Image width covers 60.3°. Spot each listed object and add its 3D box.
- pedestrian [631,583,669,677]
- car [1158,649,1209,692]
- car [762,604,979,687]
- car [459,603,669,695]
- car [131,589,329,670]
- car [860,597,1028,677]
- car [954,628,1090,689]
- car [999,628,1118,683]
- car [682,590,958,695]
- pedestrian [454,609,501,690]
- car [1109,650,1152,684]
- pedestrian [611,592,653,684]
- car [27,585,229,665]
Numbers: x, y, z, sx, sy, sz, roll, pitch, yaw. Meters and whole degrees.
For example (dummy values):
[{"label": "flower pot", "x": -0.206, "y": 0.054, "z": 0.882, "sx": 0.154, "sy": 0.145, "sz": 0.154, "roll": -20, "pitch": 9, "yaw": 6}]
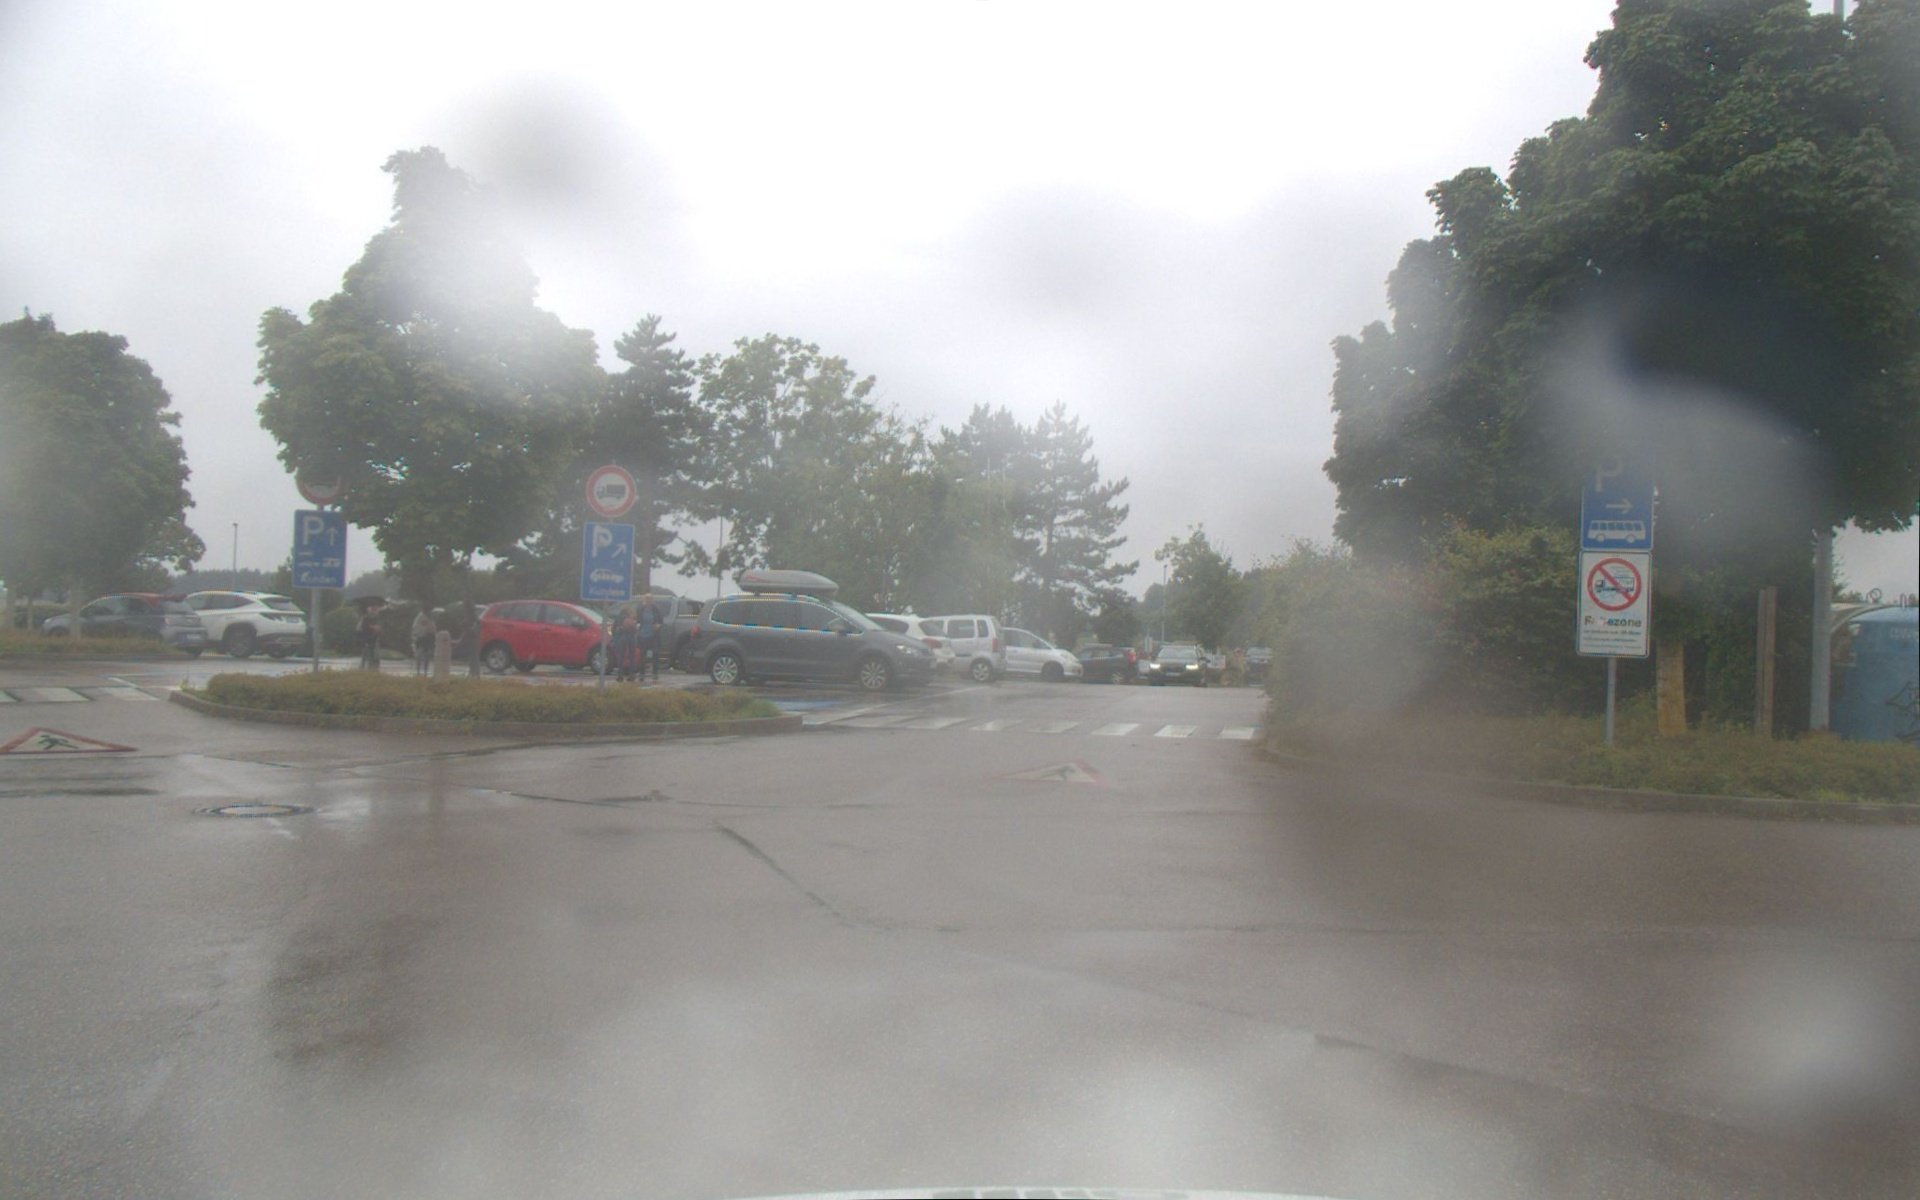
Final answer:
[{"label": "pedestrian", "x": -5.887, "y": 0.579, "z": 31.419, "sx": 0.599, "sy": 1.755, "sz": 0.681, "roll": 3, "pitch": -3, "yaw": -14}, {"label": "car", "x": 7.803, "y": 2.481, "z": 57.587, "sx": 1.610, "sy": 1.394, "sz": 4.002, "roll": 2, "pitch": -3, "yaw": 9}, {"label": "car", "x": -1.801, "y": 0.897, "z": 33.906, "sx": 4.095, "sy": 1.543, "sz": 1.745, "roll": 1, "pitch": 0, "yaw": 12}, {"label": "car", "x": -8.440, "y": 1.019, "z": 35.395, "sx": 3.924, "sy": 1.824, "sz": 1.852, "roll": 1, "pitch": 0, "yaw": 11}, {"label": "car", "x": -18.388, "y": 0.751, "z": 41.723, "sx": 4.261, "sy": 1.895, "sz": 1.721, "roll": 1, "pitch": -3, "yaw": 11}, {"label": "car", "x": -0.374, "y": 0.952, "z": 41.982, "sx": 3.924, "sy": 1.895, "sz": 1.852, "roll": 1, "pitch": -3, "yaw": 11}, {"label": "car", "x": 2.077, "y": 1.942, "z": 54.804, "sx": 4.261, "sy": 1.895, "sz": 1.852, "roll": 1, "pitch": -3, "yaw": 11}, {"label": "car", "x": 3.767, "y": 2.082, "z": 62.716, "sx": 4.261, "sy": 1.895, "sz": 1.852, "roll": 2, "pitch": -1, "yaw": 11}, {"label": "car", "x": -2.603, "y": 0.779, "z": 31.322, "sx": 4.829, "sy": 1.824, "sz": 2.002, "roll": 1, "pitch": 0, "yaw": 11}, {"label": "pedestrian", "x": -8.475, "y": 0.871, "z": 29.045, "sx": 0.636, "sy": 1.386, "sz": 0.447, "roll": 4, "pitch": -4, "yaw": -30}, {"label": "car", "x": 7.582, "y": 3.003, "z": 73.406, "sx": 1.610, "sy": 1.394, "sz": 3.816, "roll": 2, "pitch": -3, "yaw": 9}, {"label": "pedestrian", "x": -6.091, "y": 0.708, "z": 30.721, "sx": 0.701, "sy": 1.667, "sz": 0.644, "roll": 2, "pitch": -3, "yaw": -11}, {"label": "car", "x": -19.530, "y": 0.596, "z": 38.891, "sx": 3.927, "sy": 1.746, "sz": 1.721, "roll": 1, "pitch": -3, "yaw": 11}]
